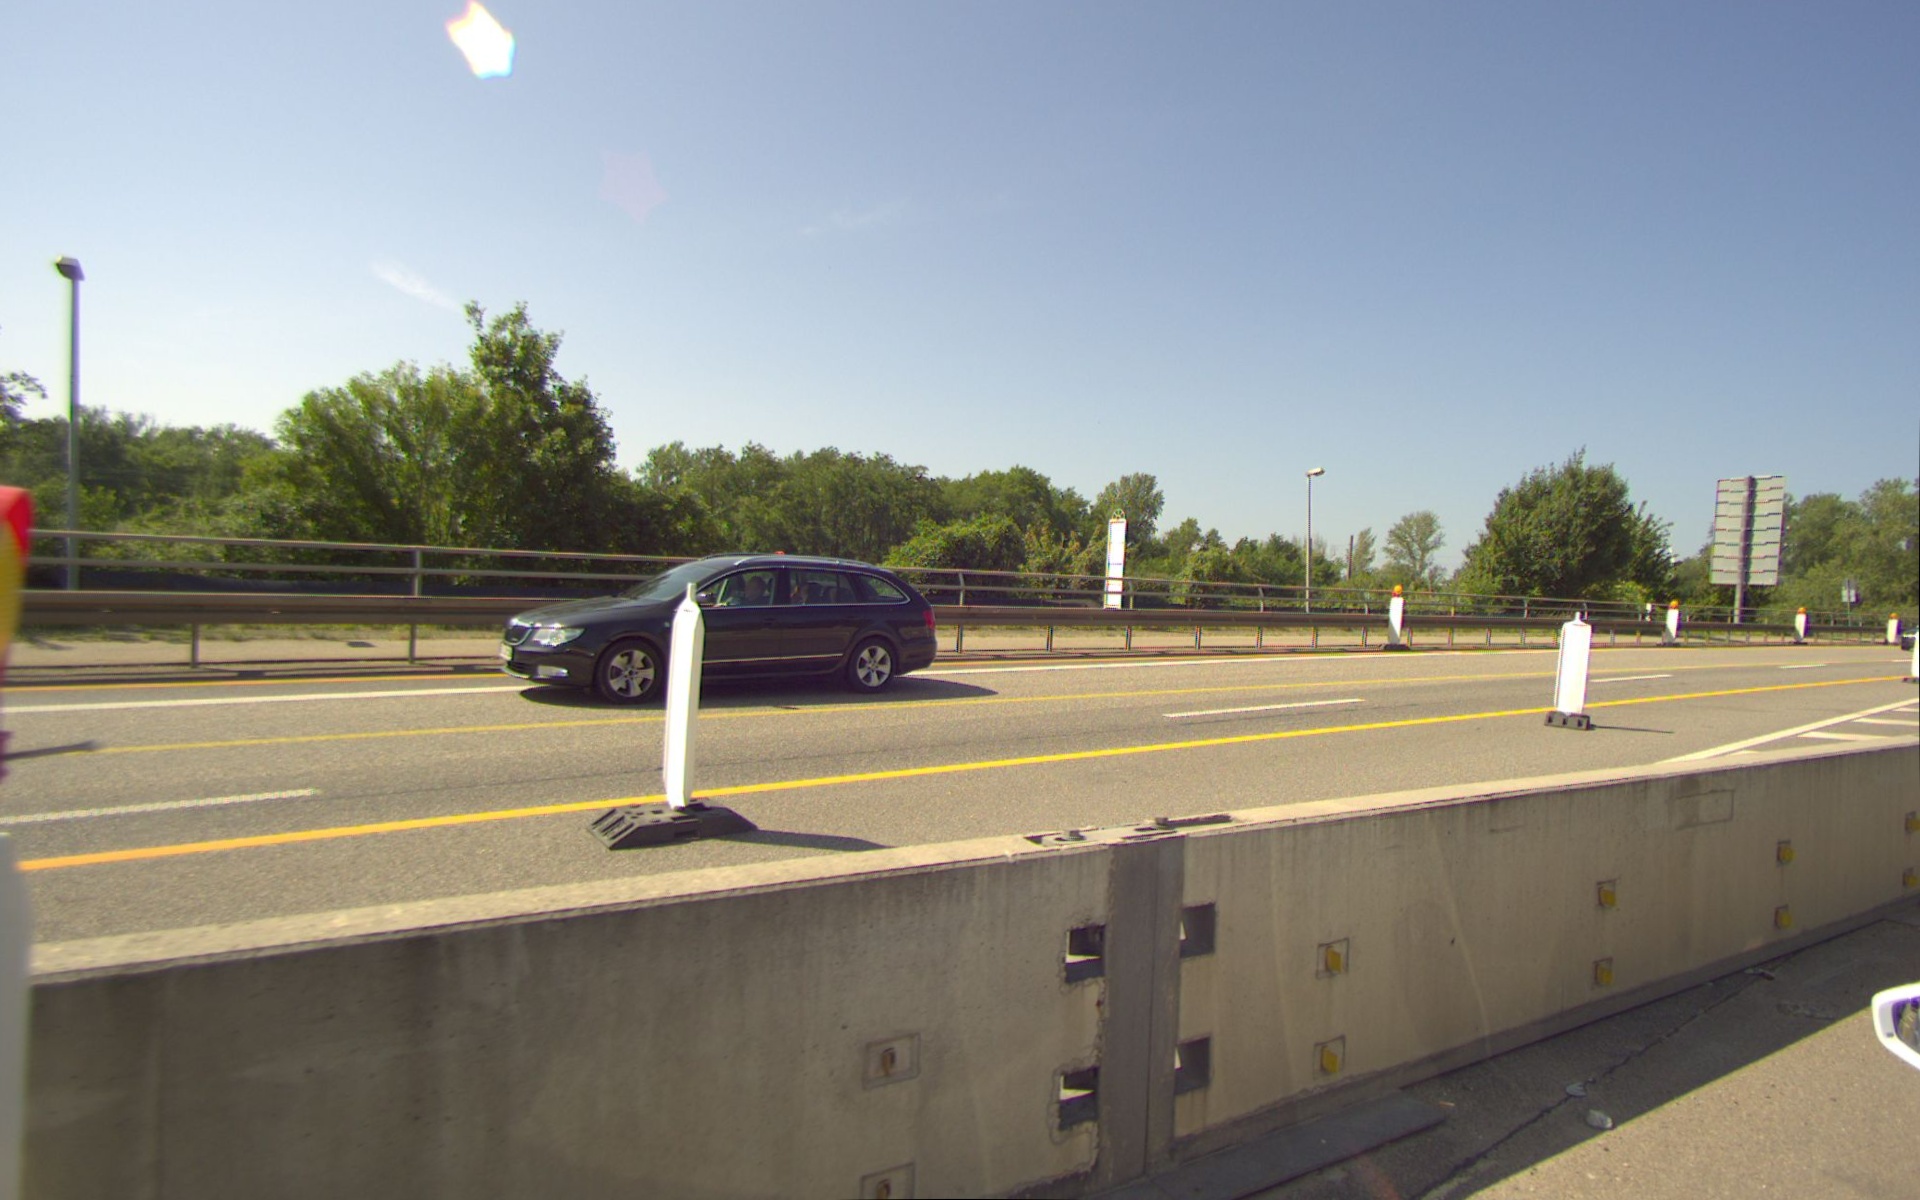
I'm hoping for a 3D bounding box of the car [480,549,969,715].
[{"bbox_3d":[-2.391,0.298,10.995,4.948,1.461,1.655,1,2,-36],"label":"car"}]

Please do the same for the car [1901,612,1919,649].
[{"bbox_3d":[41.481,1.330,42.376,4.600,1.496,1.725,1,2,-36],"label":"car"}]
